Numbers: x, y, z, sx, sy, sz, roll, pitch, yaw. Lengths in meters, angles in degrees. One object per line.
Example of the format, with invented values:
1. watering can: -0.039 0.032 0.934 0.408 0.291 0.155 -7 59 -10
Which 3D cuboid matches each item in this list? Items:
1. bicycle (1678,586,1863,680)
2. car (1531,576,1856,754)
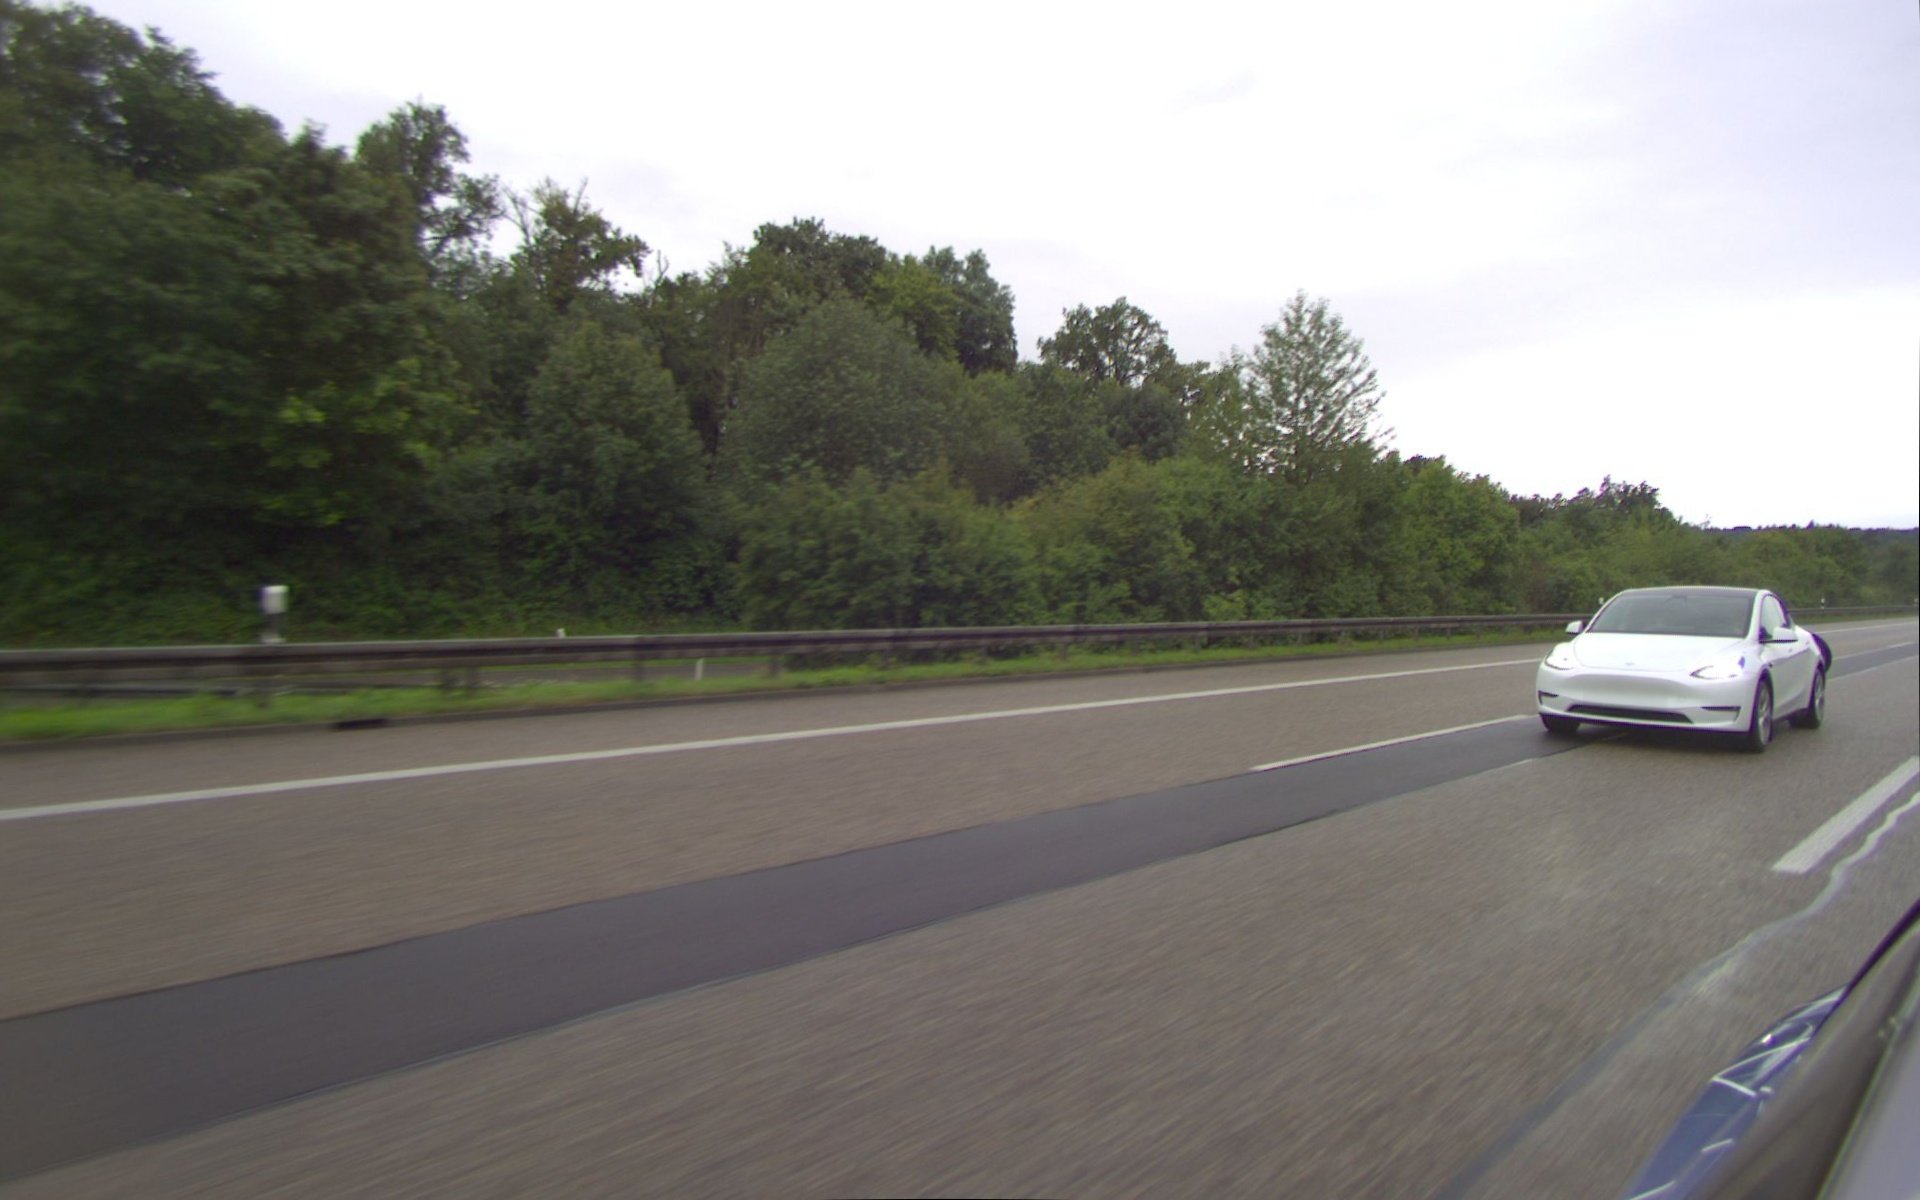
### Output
1. bicycle: 10.563 0.388 13.231 0.898 1.104 1.757 -2 2 -40
2. car: 8.344 0.548 11.318 4.877 1.587 1.864 -1 1 -41
